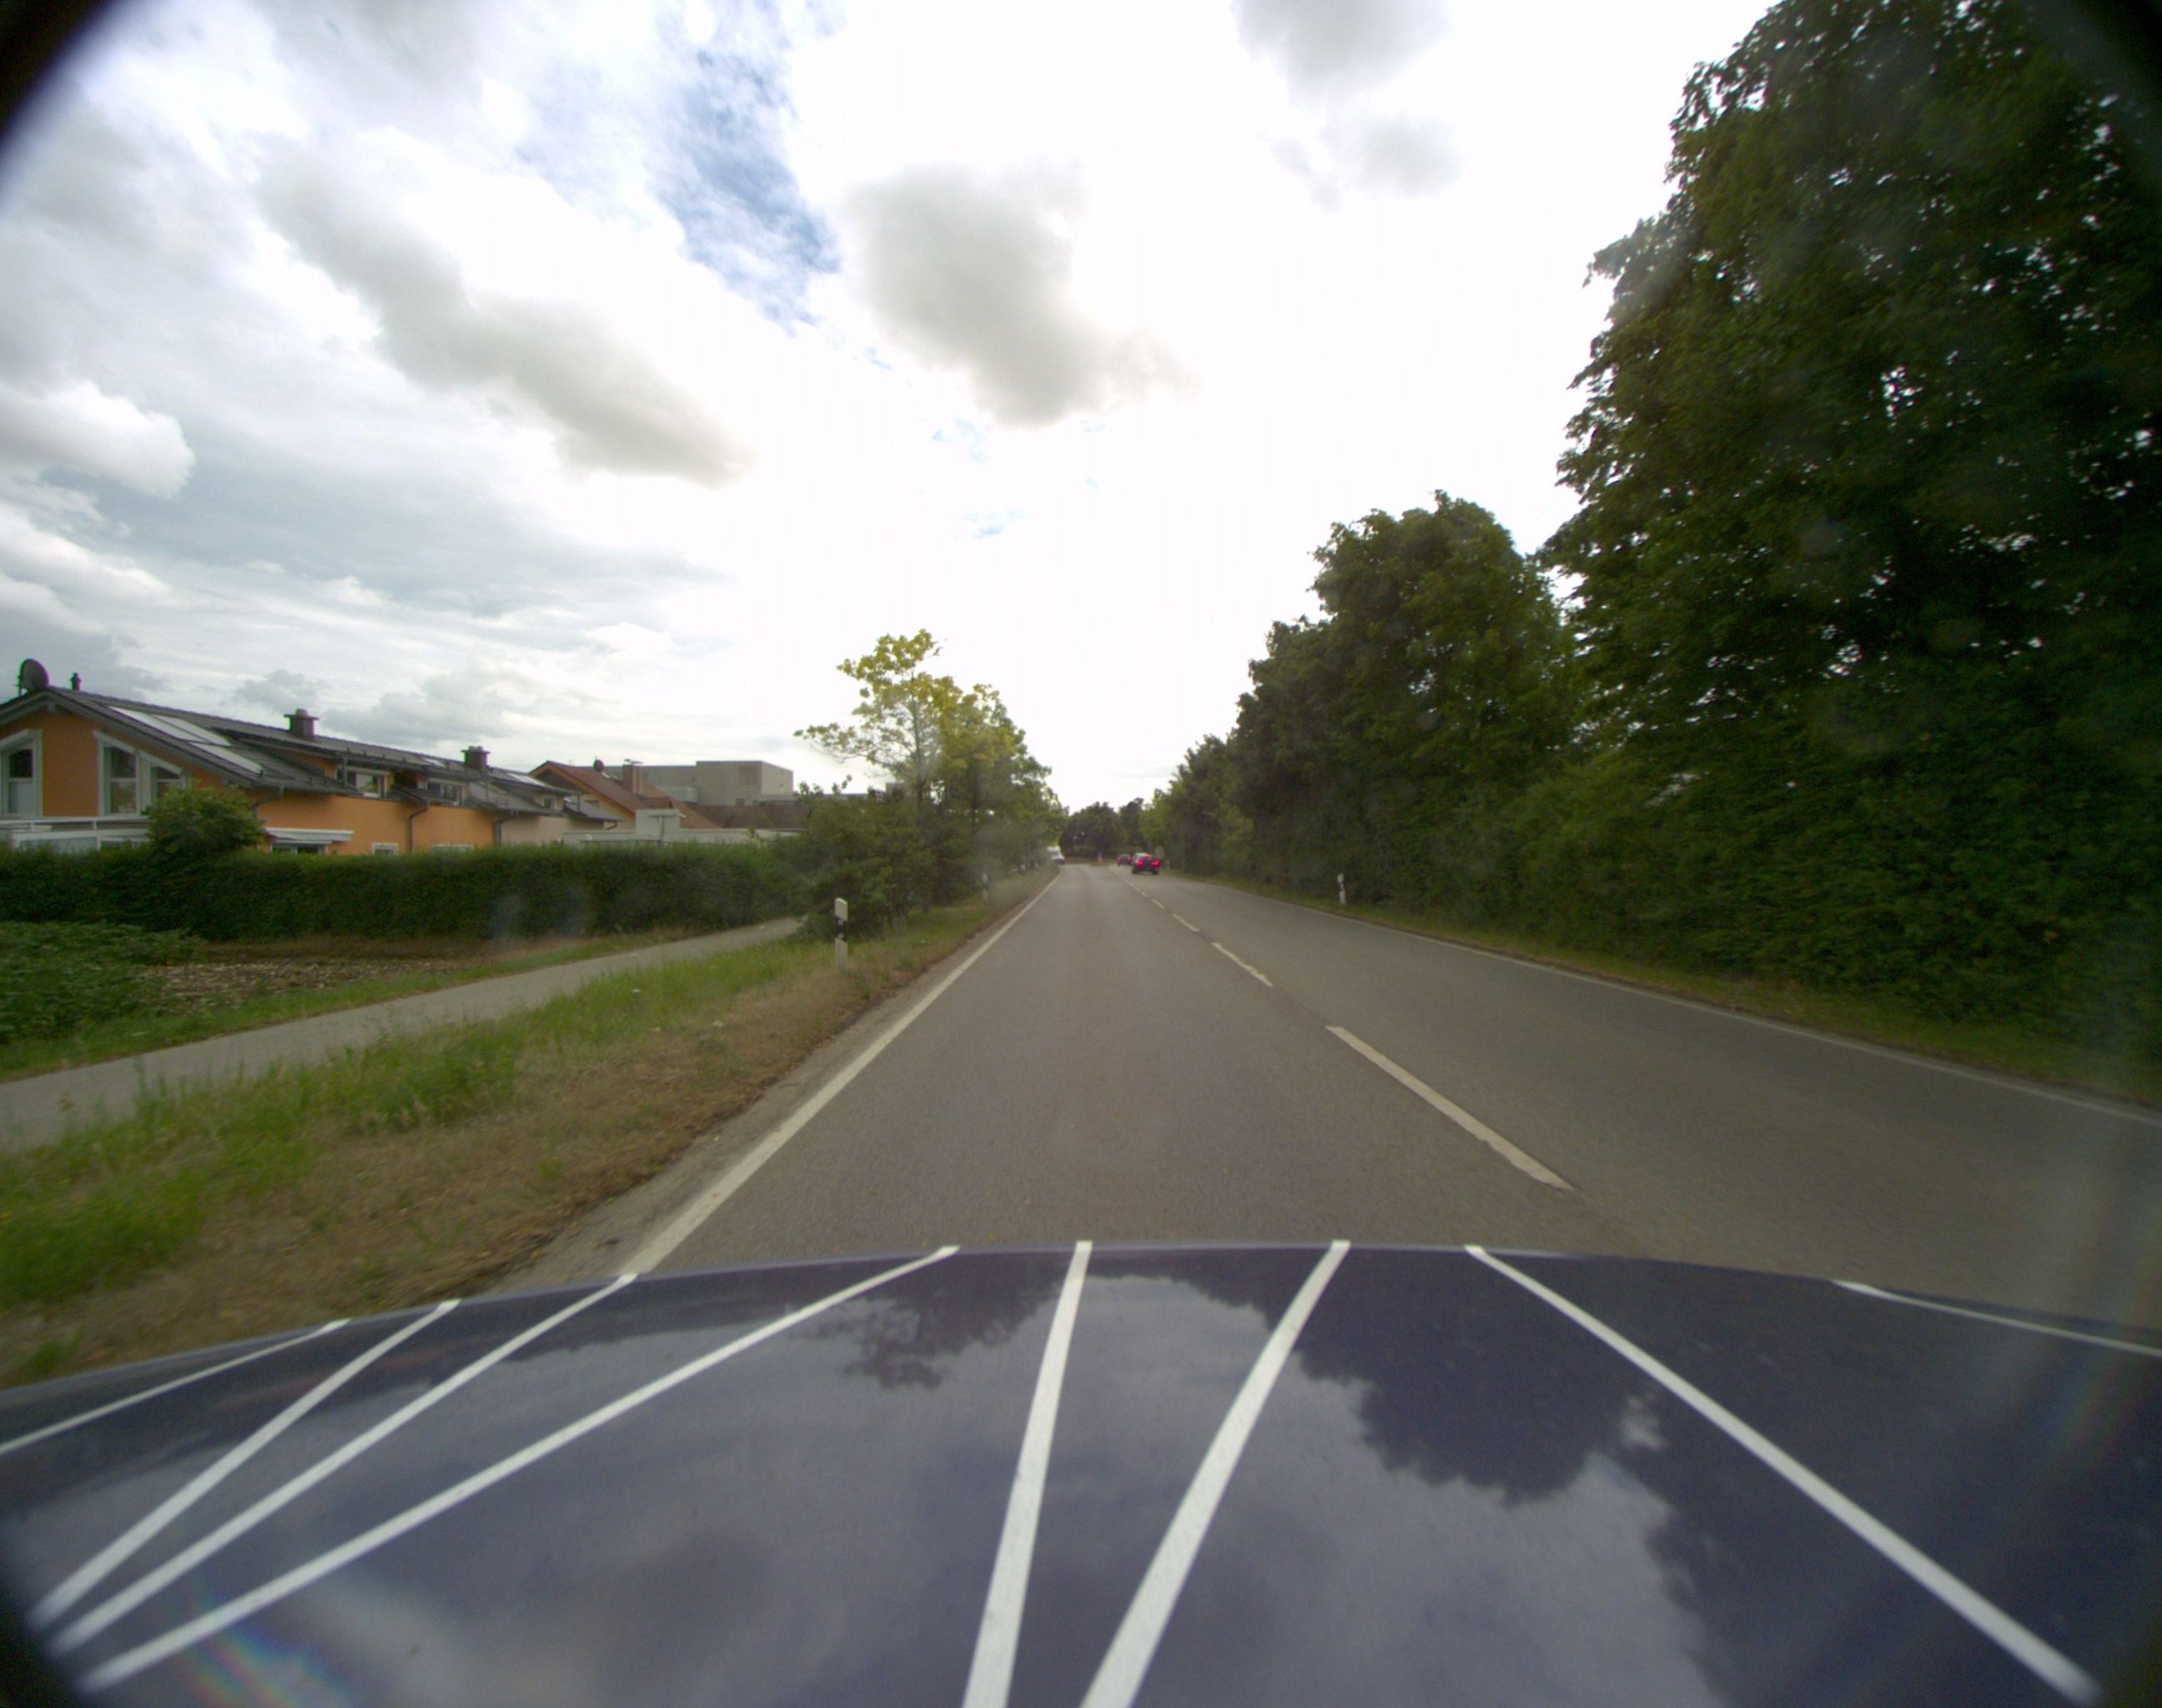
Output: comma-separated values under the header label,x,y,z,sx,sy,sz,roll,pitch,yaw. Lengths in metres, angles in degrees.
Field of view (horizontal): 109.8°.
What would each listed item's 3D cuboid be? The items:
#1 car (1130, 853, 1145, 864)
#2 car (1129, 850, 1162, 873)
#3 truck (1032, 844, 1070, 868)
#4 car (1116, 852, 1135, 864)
label,x,y,z,sx,sy,sz,roll,pitch,yaw
car,8.242,0.617,110.801,1.998,1.592,4.665,1,1,1
car,4.834,0.549,57.603,1.945,1.577,4.554,1,1,-2
truck,-4.614,0.283,113.614,2.620,3.428,7.490,-2,0,-28
car,5.832,0.539,99.729,1.999,1.411,4.476,1,1,-2
